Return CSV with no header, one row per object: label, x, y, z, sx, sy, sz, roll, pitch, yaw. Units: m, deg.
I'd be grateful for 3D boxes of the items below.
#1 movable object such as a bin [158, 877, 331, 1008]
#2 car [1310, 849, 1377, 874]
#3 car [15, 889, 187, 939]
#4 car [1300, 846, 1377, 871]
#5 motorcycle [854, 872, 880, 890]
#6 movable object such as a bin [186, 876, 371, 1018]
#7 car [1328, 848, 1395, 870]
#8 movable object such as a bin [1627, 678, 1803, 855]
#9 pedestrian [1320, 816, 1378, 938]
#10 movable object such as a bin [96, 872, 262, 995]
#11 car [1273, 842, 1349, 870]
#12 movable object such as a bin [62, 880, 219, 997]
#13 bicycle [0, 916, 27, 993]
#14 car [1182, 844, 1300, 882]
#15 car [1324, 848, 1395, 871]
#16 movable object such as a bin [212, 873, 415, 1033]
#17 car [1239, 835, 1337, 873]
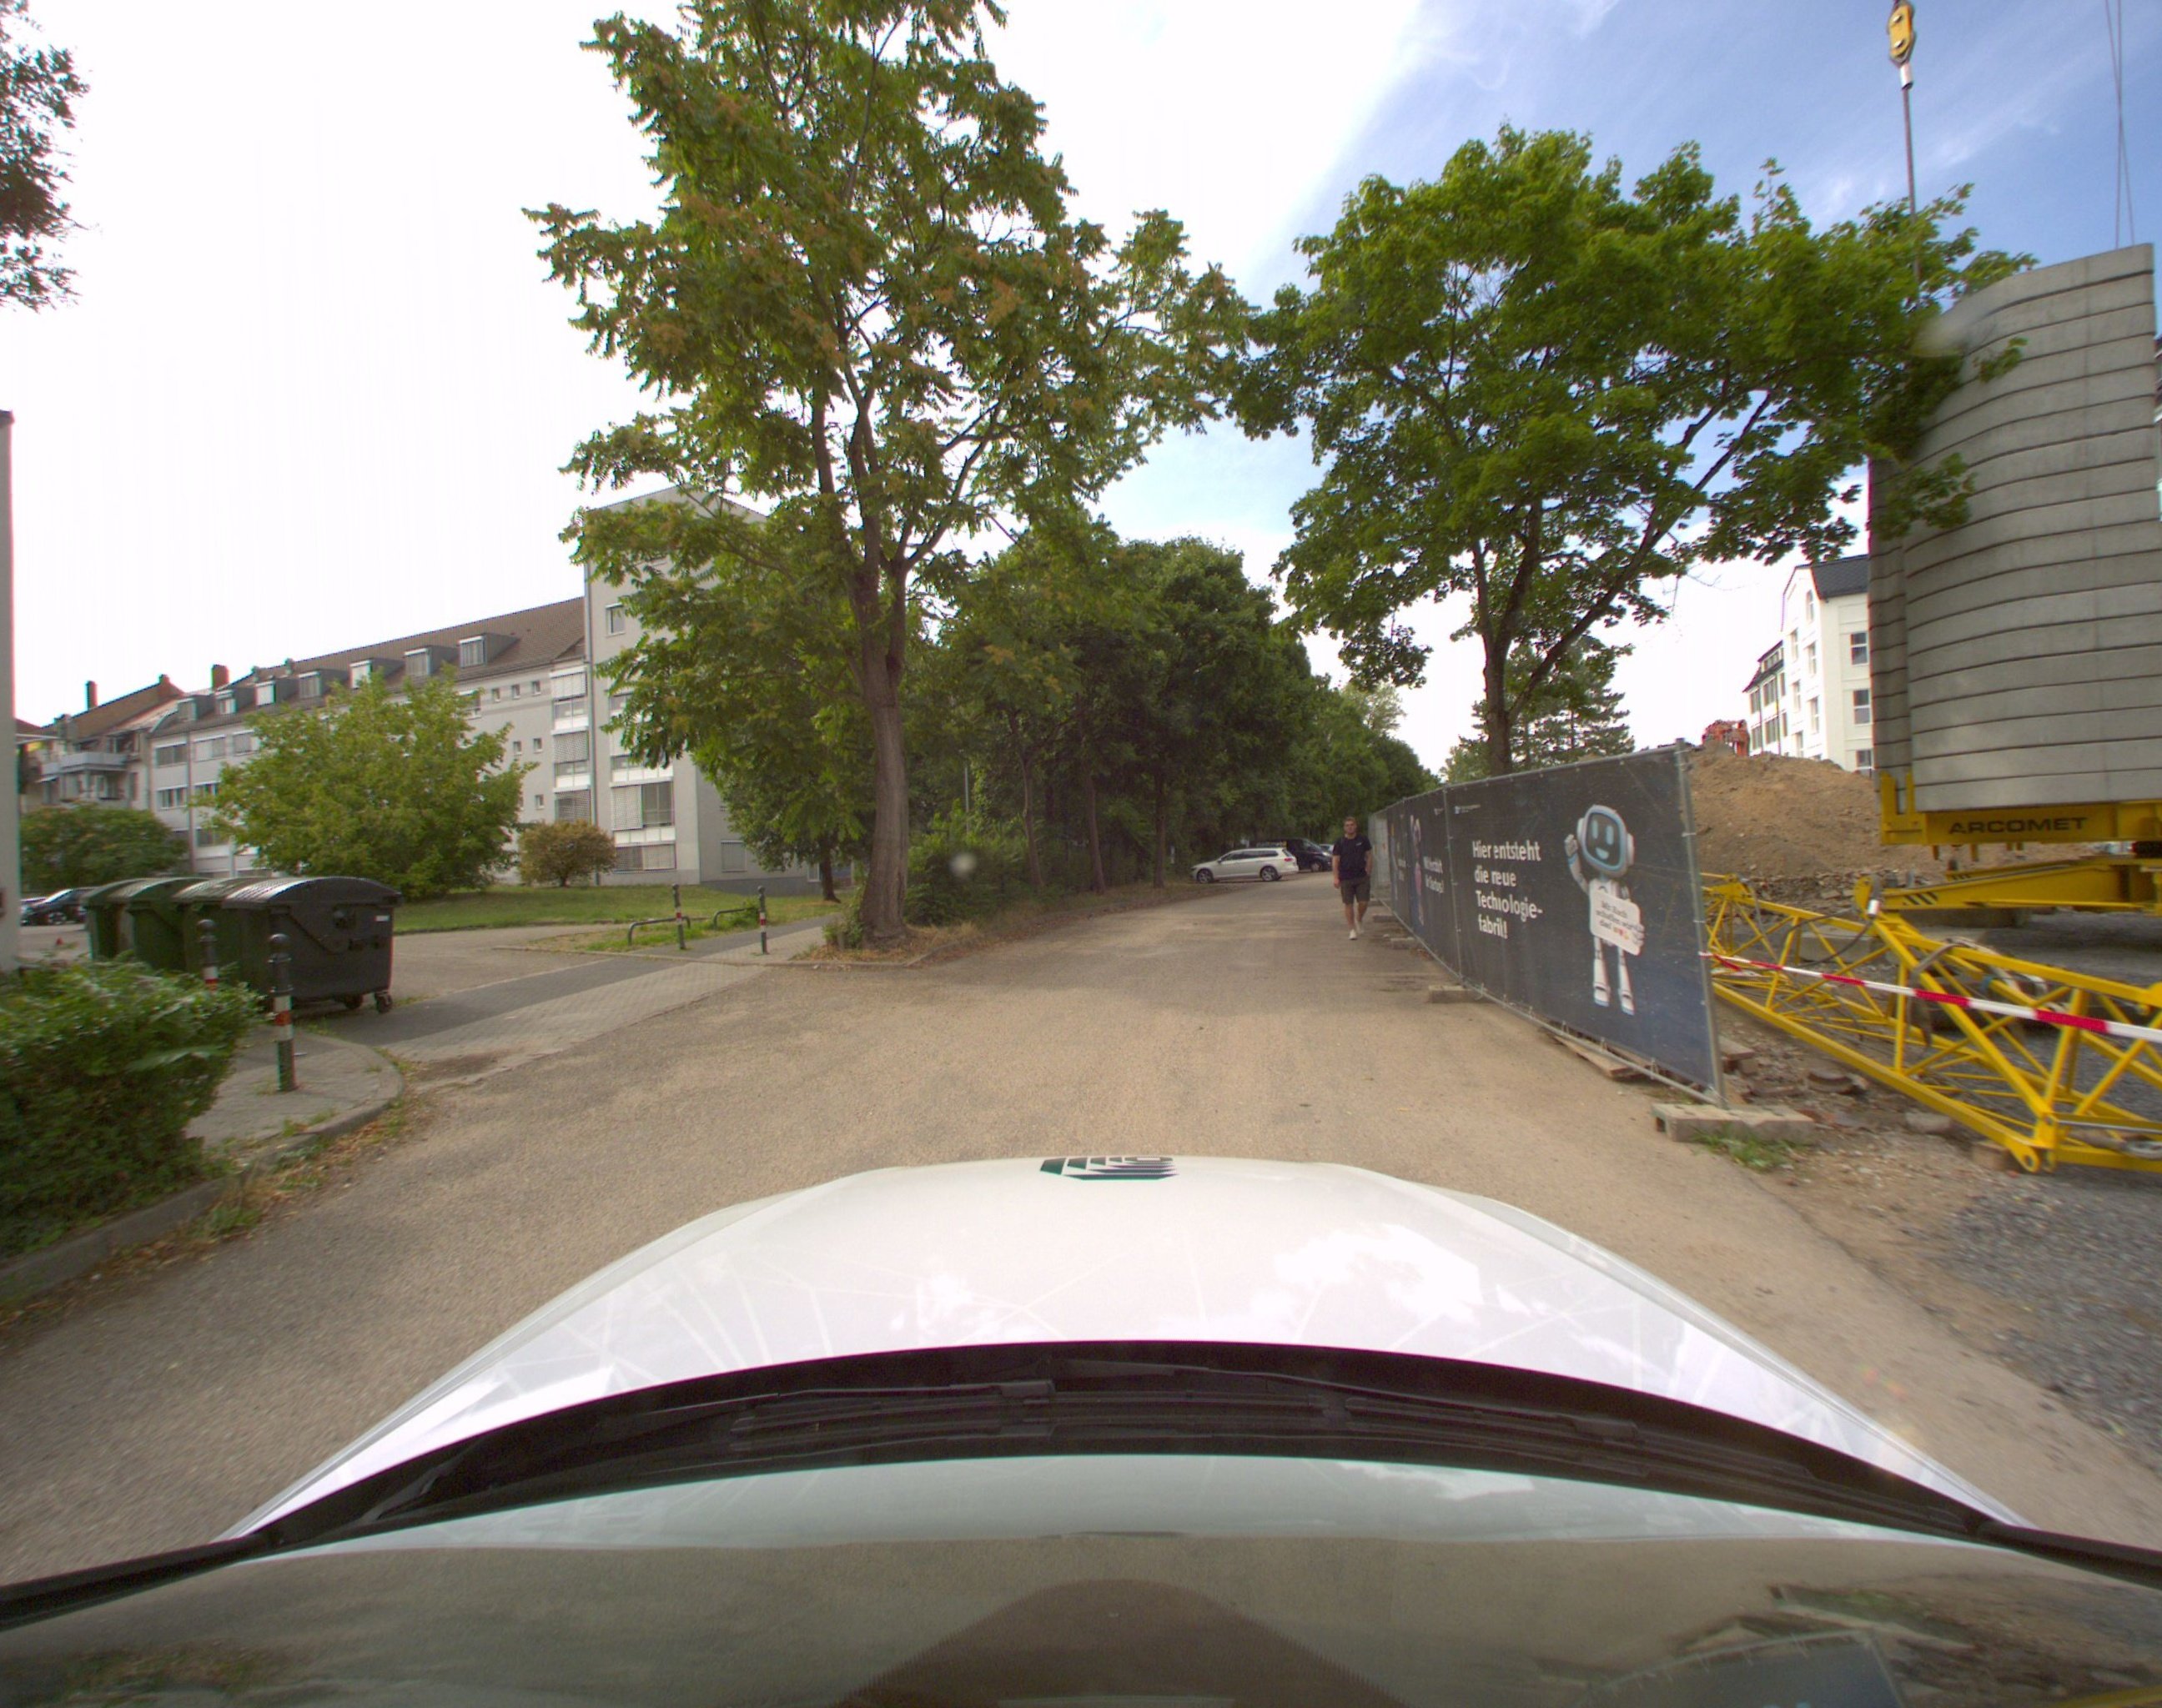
movable object such as a bin,-10.200,1.029,9.952,1.268,1.430,1.129,-2,0,28
car,18.463,0.522,57.259,4.296,1.543,1.763,-2,0,22
car,-36.579,2.188,30.548,1.974,1.495,4.025,-2,0,40
car,17.351,0.293,54.803,4.750,1.488,2.011,-2,0,22
motorcycle,-16.825,2.121,64.010,0.660,1.290,2.160,-2,0,26
movable object such as a bin,-9.064,0.994,9.221,1.268,1.430,1.129,-2,0,28
car,21.580,0.373,62.600,4.750,1.488,2.011,-2,0,22
movable object such as a bin,28.176,-3.478,35.899,11.046,6.669,3.811,-2,0,-41
pedestrian,4.100,0.344,12.437,0.741,1.789,0.735,-2,0,22
movable object such as a bin,-11.680,0.985,10.562,1.268,1.430,1.129,-2,0,28
car,13.789,0.123,48.951,3.948,1.500,1.944,-2,0,34
movable object such as a bin,-12.899,1.113,11.184,1.268,1.430,1.129,-2,0,28
bicycle,-15.897,1.438,11.630,1.953,1.043,0.598,-2,1,25
car,7.048,0.415,35.841,4.750,1.488,2.011,-2,0,22
car,20.518,0.413,59.934,4.750,1.488,2.011,-2,0,22
movable object such as a bin,-7.818,0.947,8.320,1.268,1.430,1.129,-2,0,28
car,11.758,0.002,46.285,4.999,1.953,2.012,-2,0,26
